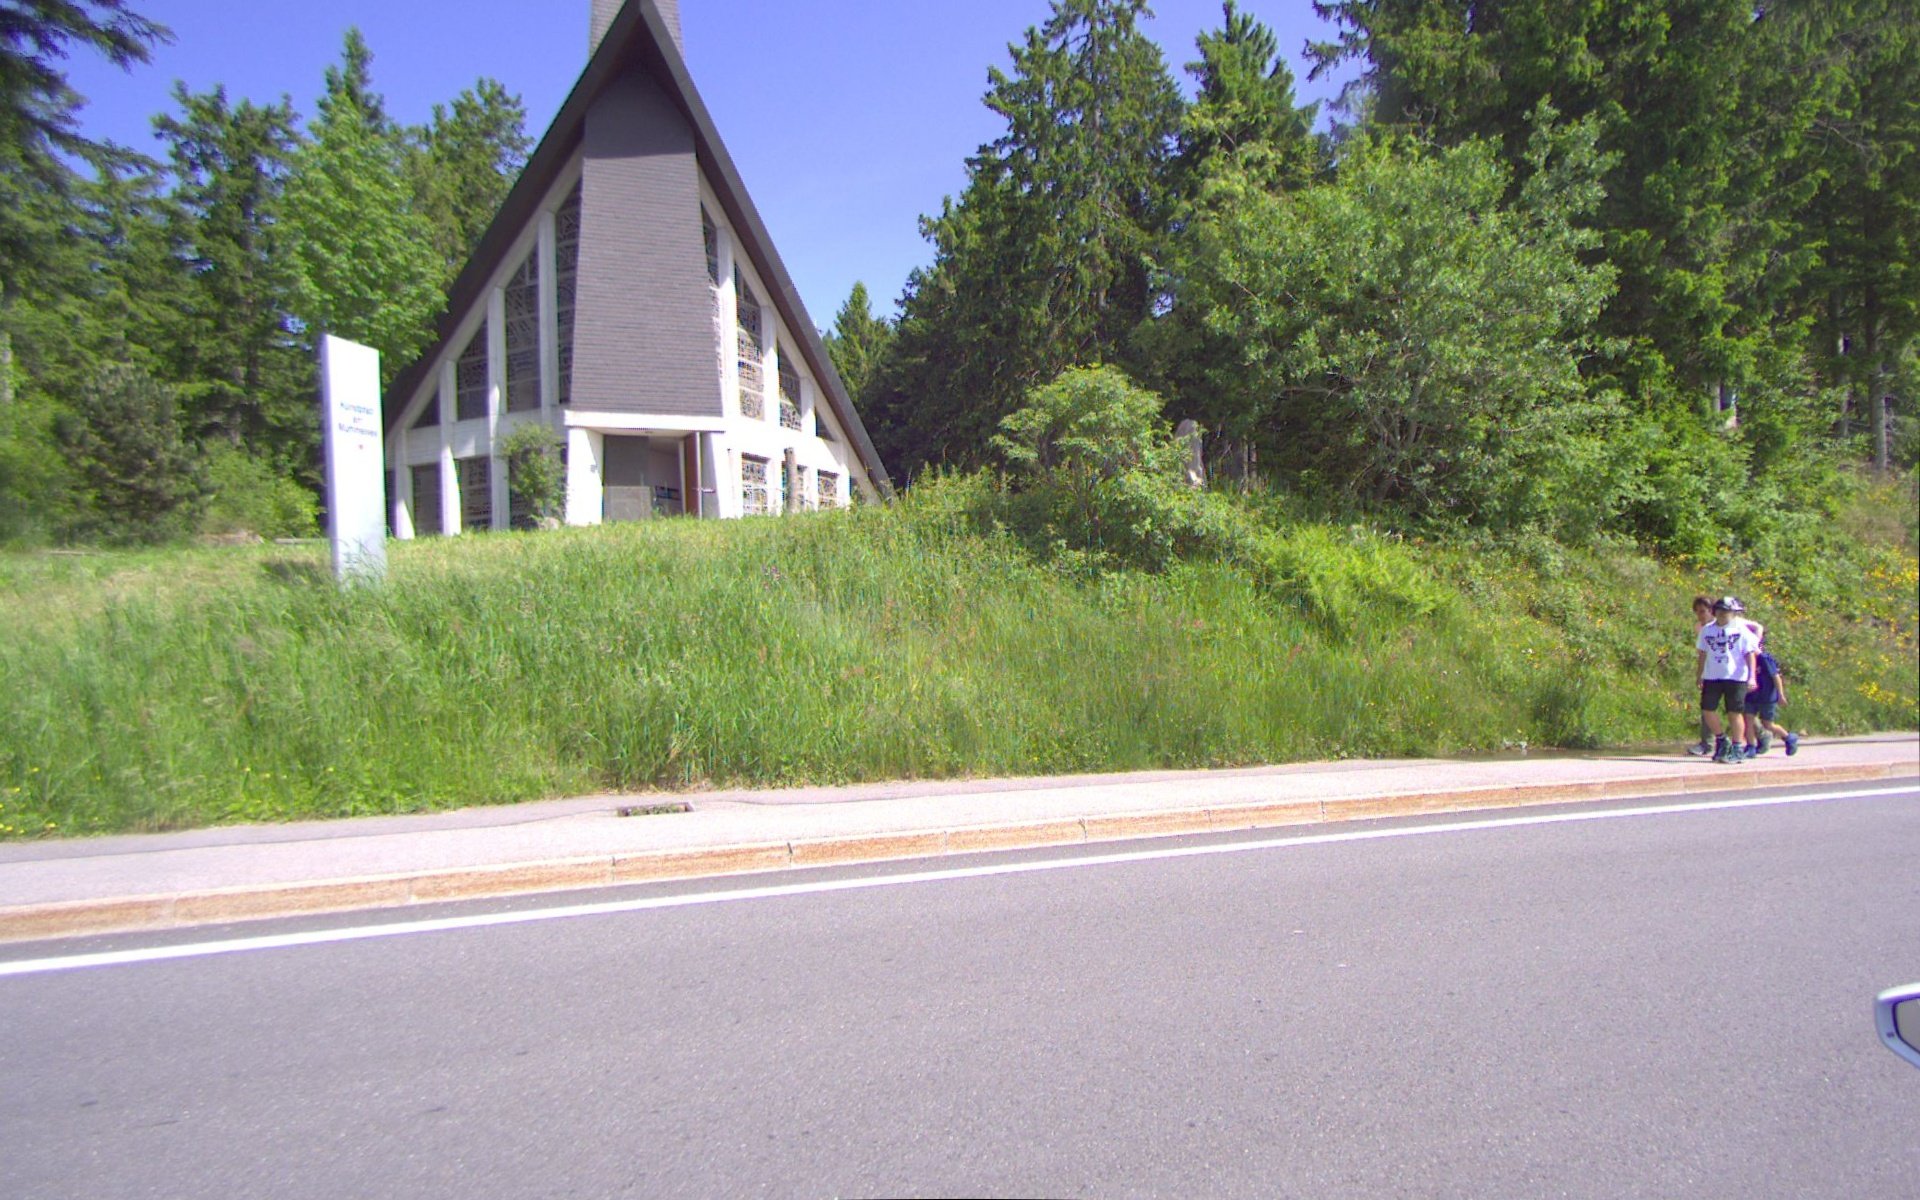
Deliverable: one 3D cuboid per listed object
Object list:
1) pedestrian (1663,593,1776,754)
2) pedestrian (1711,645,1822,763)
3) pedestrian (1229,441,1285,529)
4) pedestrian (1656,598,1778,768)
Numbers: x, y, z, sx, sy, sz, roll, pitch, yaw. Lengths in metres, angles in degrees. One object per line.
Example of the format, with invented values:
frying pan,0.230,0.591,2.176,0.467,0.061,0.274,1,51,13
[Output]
pedestrian,8.175,0.768,10.827,0.880,1.665,0.575,0,-1,-19
pedestrian,8.108,1.026,10.111,0.733,1.116,0.568,0,-1,-19
pedestrian,6.073,-2.330,20.560,0.732,1.651,0.806,1,0,-26
pedestrian,7.279,0.768,9.666,0.867,1.558,0.579,0,-1,-22
